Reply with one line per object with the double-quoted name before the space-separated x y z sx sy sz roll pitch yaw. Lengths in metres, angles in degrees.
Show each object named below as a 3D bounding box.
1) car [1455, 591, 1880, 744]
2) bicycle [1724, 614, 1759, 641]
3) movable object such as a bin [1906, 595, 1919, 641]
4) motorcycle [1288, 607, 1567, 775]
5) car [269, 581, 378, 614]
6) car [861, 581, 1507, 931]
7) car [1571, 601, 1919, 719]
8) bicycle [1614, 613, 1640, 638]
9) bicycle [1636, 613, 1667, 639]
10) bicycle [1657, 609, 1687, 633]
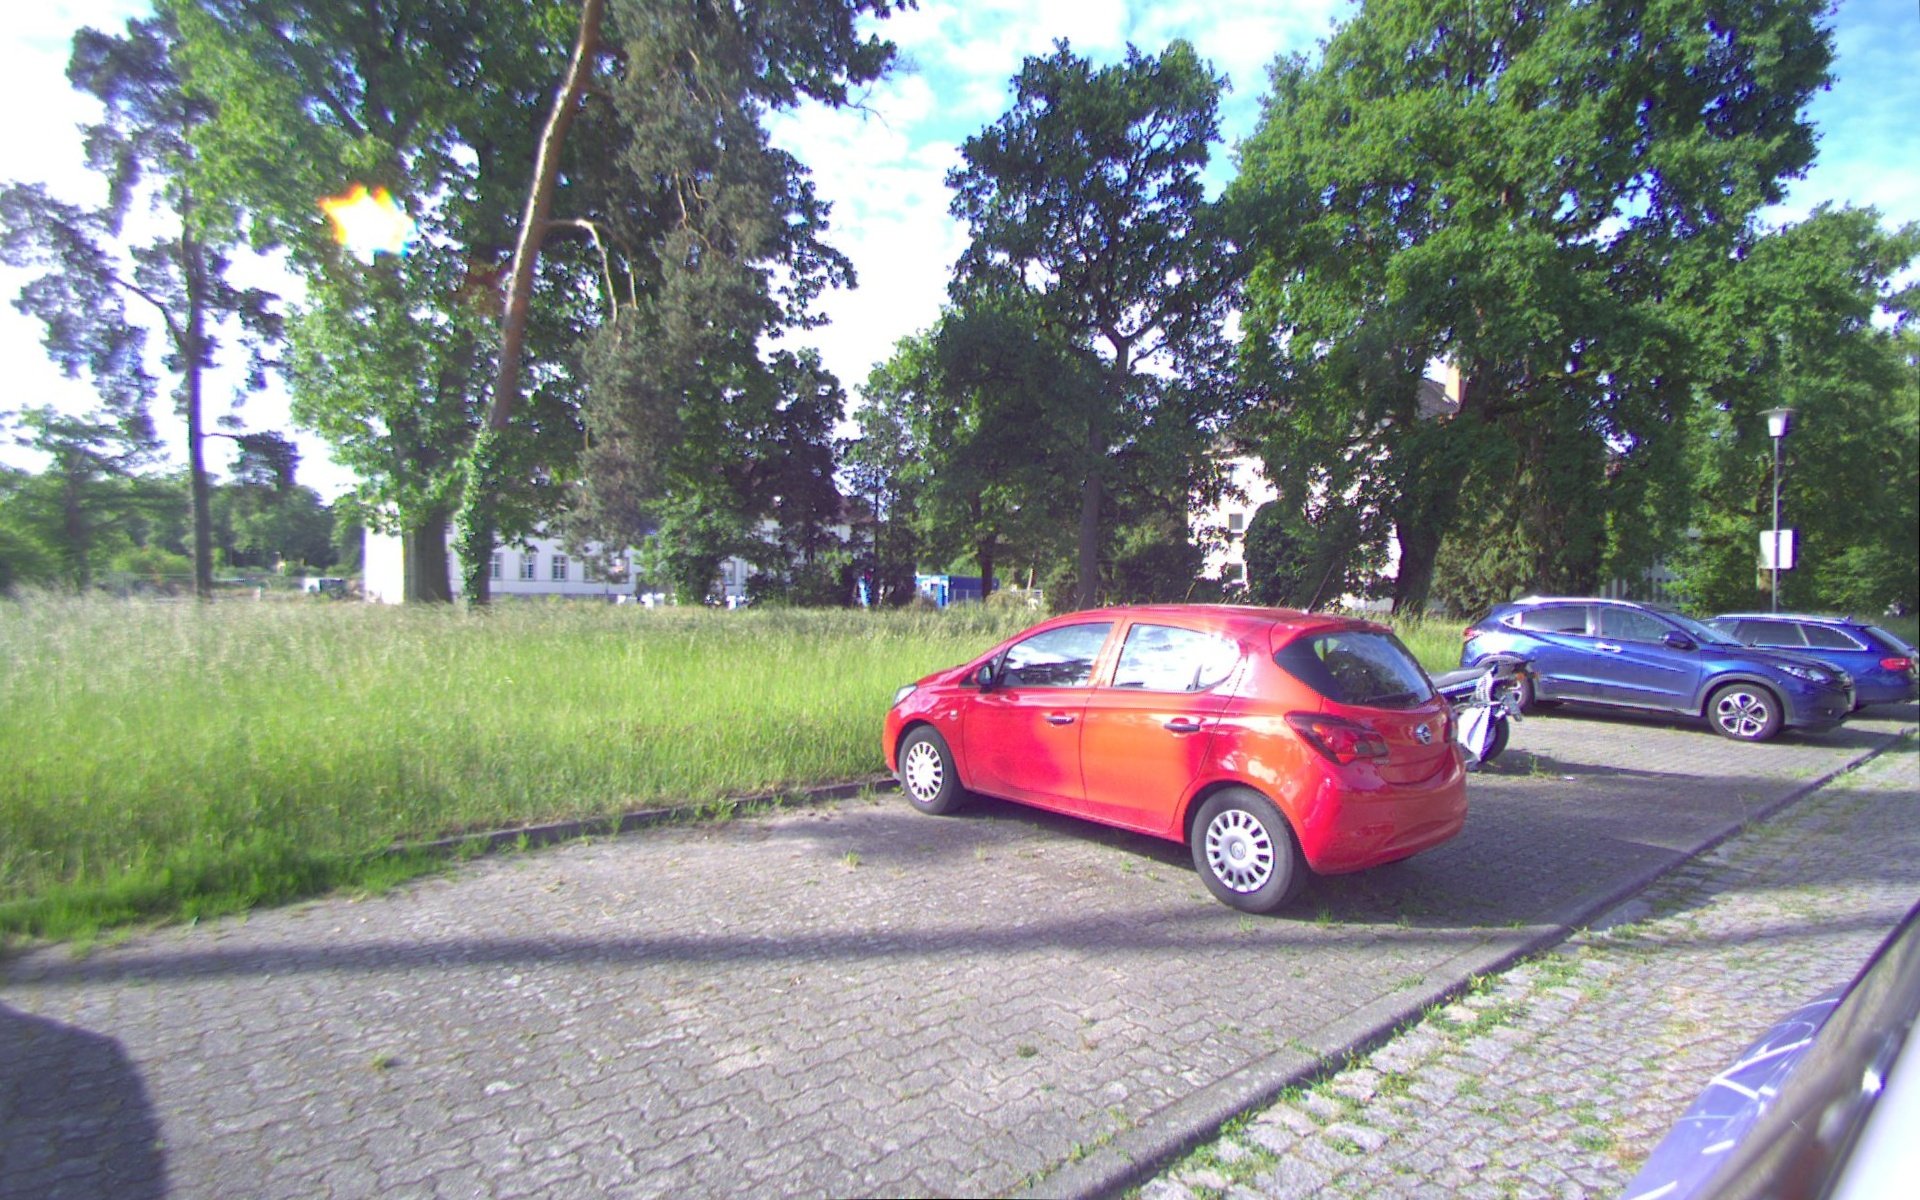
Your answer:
"car" 8.850 0.711 12.973 1.721 1.611 4.184 1 0 -40
"bicycle" 29.946 1.043 38.771 1.231 1.029 0.711 1 0 -33
"movable object such as a bin" 39.561 0.747 38.413 1.959 1.781 4.949 1 0 -26
"motorcycle" 4.346 0.776 9.611 0.713 1.337 2.304 1 1 -40
"car" -43.810 -0.186 69.834 5.888 2.199 2.381 -1 0 -15
"car" 1.133 0.669 6.476 1.616 1.497 3.835 1 1 -40
"car" 12.406 0.826 15.920 1.682 1.425 4.463 1 2 -37
"bicycle" 27.661 1.058 41.961 1.008 1.029 0.619 1 0 -38
"bicycle" 28.426 1.066 41.617 1.007 1.029 0.711 1 0 -33
"bicycle" 31.296 0.924 44.493 0.700 1.029 1.023 0 0 12
